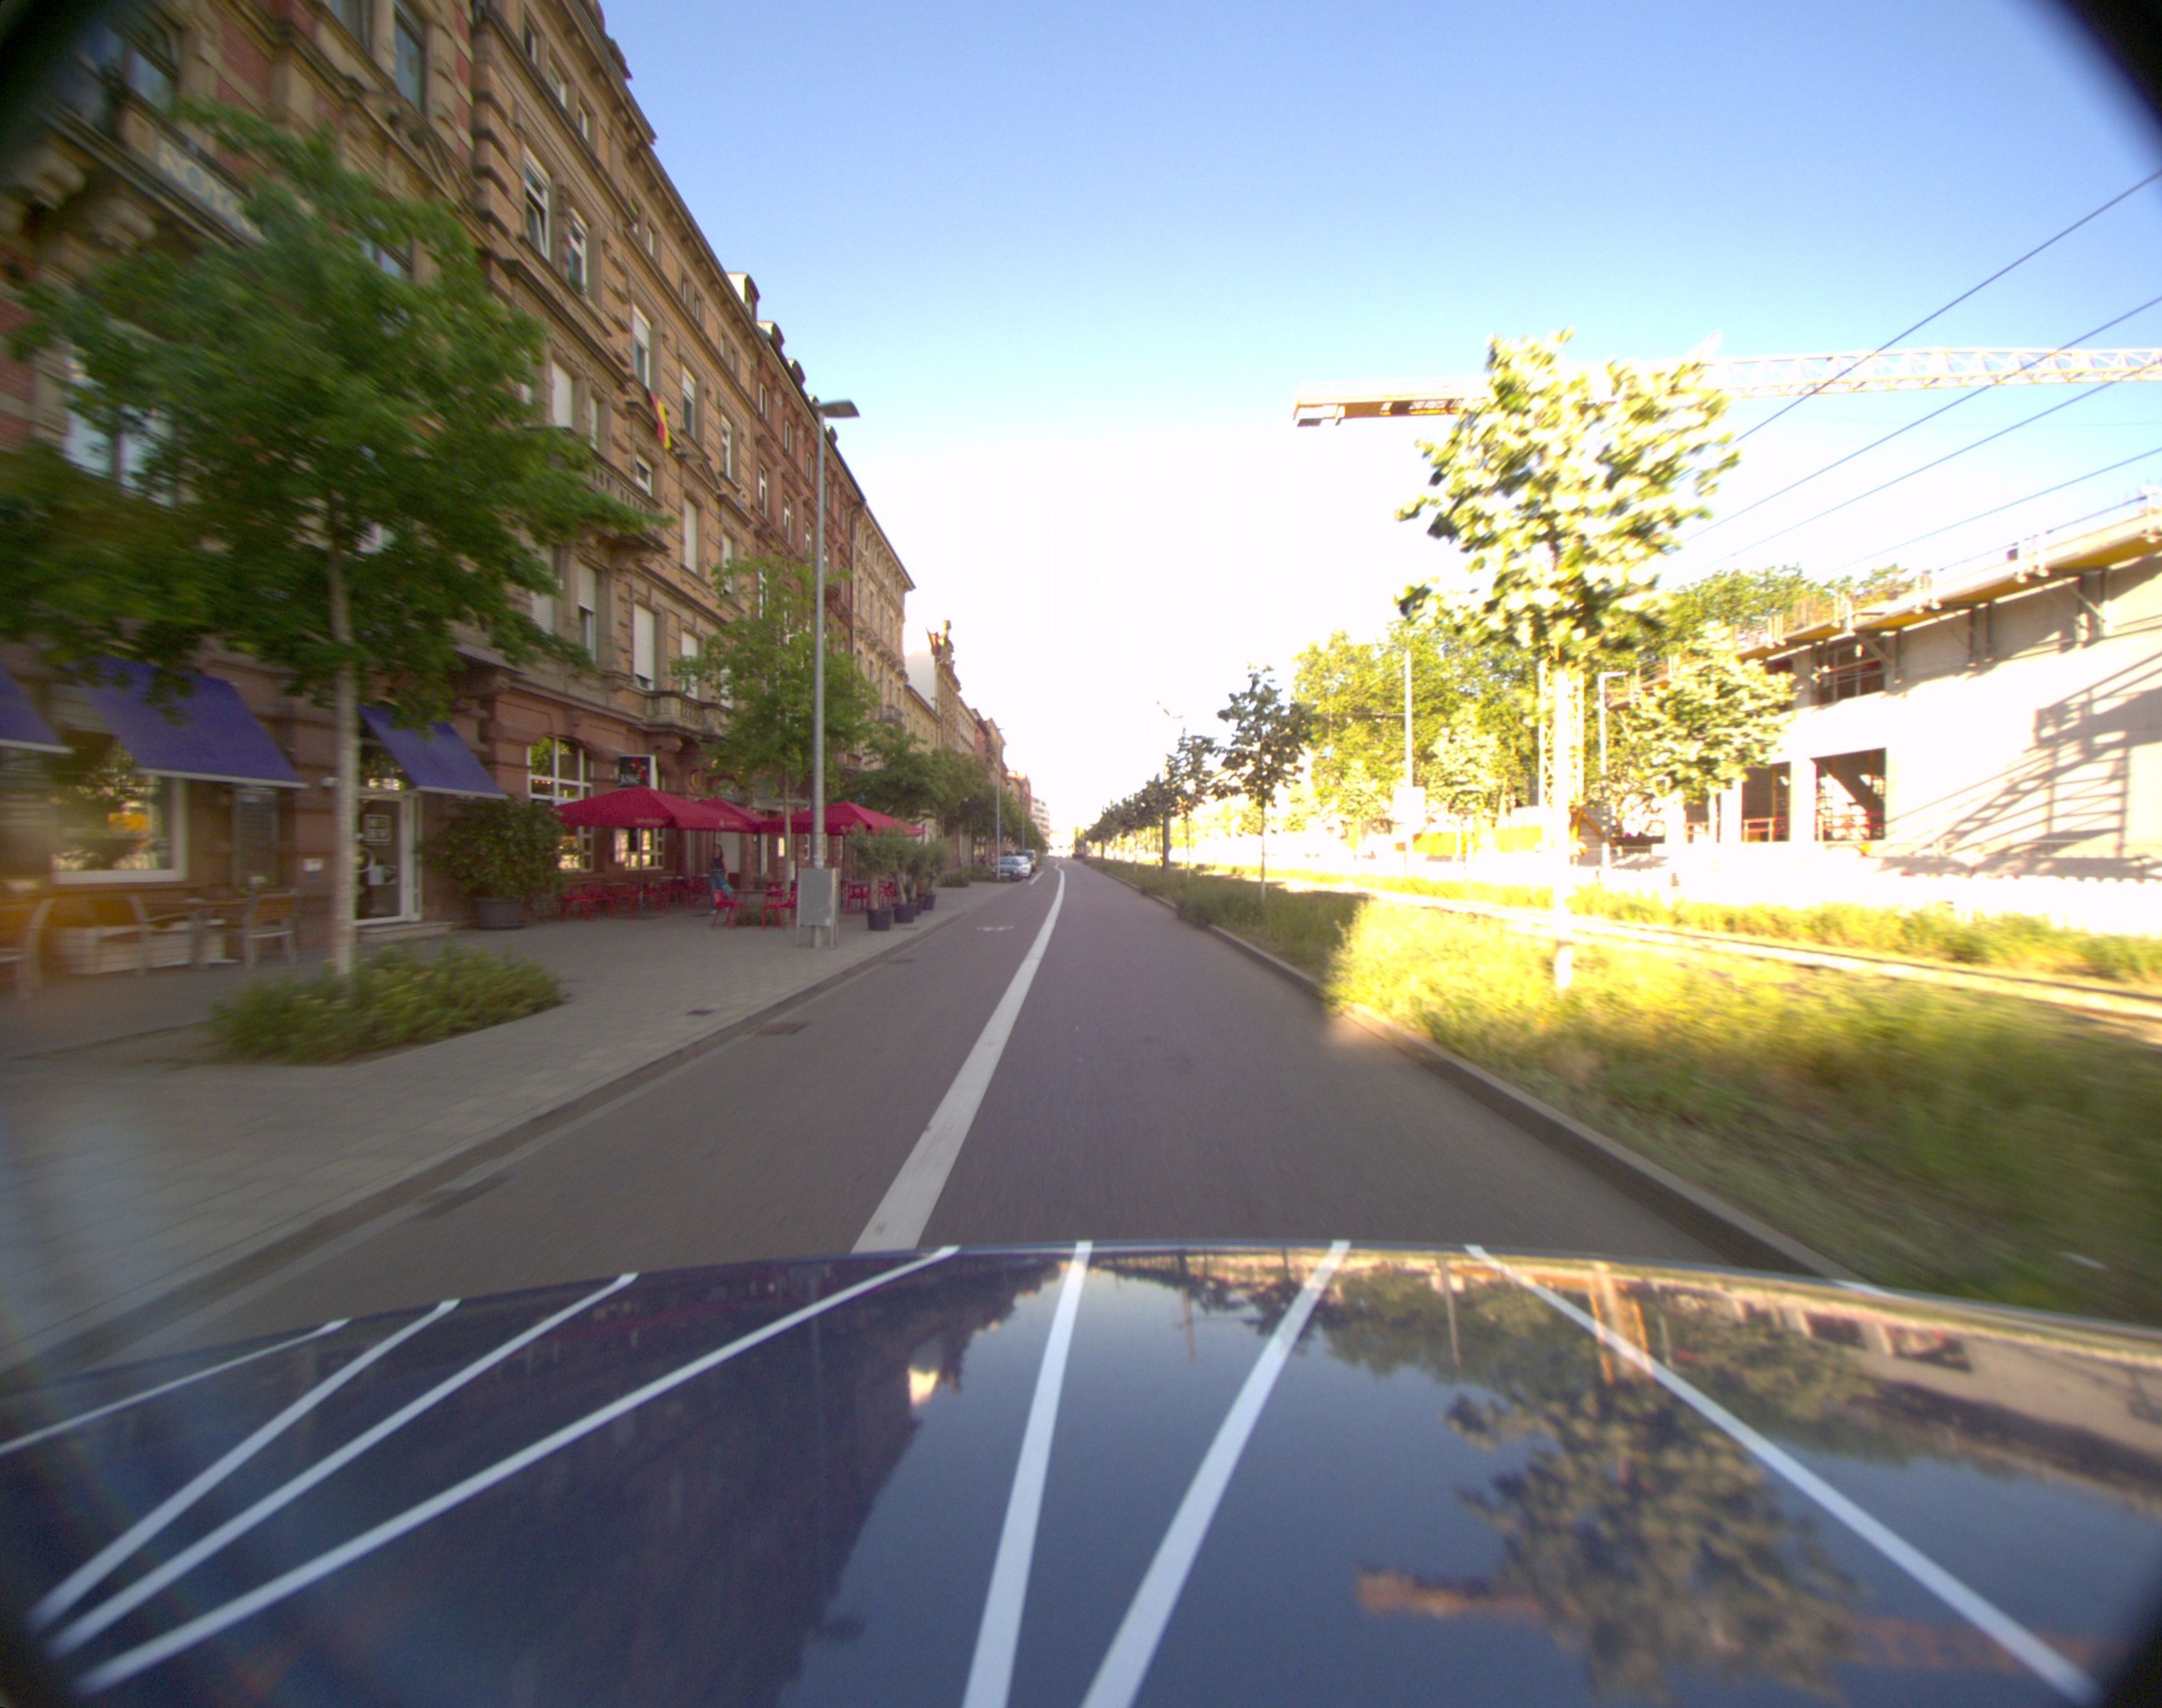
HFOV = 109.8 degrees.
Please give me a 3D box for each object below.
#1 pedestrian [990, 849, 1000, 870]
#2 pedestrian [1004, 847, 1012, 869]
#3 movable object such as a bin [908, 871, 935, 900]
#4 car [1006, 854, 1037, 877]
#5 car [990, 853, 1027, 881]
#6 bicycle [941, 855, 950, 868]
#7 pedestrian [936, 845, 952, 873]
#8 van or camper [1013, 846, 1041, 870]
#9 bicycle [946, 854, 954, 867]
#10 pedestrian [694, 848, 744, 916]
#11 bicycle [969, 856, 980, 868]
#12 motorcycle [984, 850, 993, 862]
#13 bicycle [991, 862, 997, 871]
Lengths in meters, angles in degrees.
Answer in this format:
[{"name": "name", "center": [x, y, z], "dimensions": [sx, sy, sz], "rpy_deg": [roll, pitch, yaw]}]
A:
[{"name": "pedestrian", "center": [-7.097, 0.471, 62.722], "dimensions": [0.481, 1.718, 0.578], "rpy_deg": [0, 2, 44]}, {"name": "pedestrian", "center": [-6.024, 0.331, 62.475], "dimensions": [0.471, 1.768, 0.506], "rpy_deg": [-1, 1, 18]}, {"name": "movable object such as a bin", "center": [-5.441, 1.059, 25.967], "dimensions": [0.676, 0.919, 0.561], "rpy_deg": [3, 2, 20]}, {"name": "car", "center": [-4.075, 0.757, 52.621], "dimensions": [1.854, 1.445, 5.251], "rpy_deg": [1, 0, -2]}, {"name": "car", "center": [-4.391, 0.741, 46.416], "dimensions": [1.853, 1.555, 4.296], "rpy_deg": [1, 0, 0]}, {"name": "bicycle", "center": [-11.157, 0.605, 62.705], "dimensions": [0.344, 1.027, 2.072], "rpy_deg": [-1, 1, -1]}, {"name": "pedestrian", "center": [-8.592, 0.299, 47.650], "dimensions": [0.749, 1.744, 1.072], "rpy_deg": [1, 1, 0]}, {"name": "van or camper", "center": [-4.650, 0.342, 65.994], "dimensions": [1.966, 1.960, 5.486], "rpy_deg": [1, 0, 0]}, {"name": "bicycle", "center": [-10.809, 0.553, 62.712], "dimensions": [0.325, 1.058, 2.072], "rpy_deg": [-1, 1, -1]}, {"name": "pedestrian", "center": [-8.347, 0.624, 17.545], "dimensions": [0.730, 1.525, 0.796], "rpy_deg": [2, 1, -1]}, {"name": "bicycle", "center": [-8.335, 0.650, 59.595], "dimensions": [0.656, 0.910, 1.682], "rpy_deg": [-1, 1, -1]}, {"name": "motorcycle", "center": [-10.775, 0.261, 88.181], "dimensions": [0.788, 1.413, 2.053], "rpy_deg": [0, 0, -1]}, {"name": "bicycle", "center": [-6.432, 0.911, 56.044], "dimensions": [0.355, 0.643, 1.002], "rpy_deg": [-1, 1, -1]}]
